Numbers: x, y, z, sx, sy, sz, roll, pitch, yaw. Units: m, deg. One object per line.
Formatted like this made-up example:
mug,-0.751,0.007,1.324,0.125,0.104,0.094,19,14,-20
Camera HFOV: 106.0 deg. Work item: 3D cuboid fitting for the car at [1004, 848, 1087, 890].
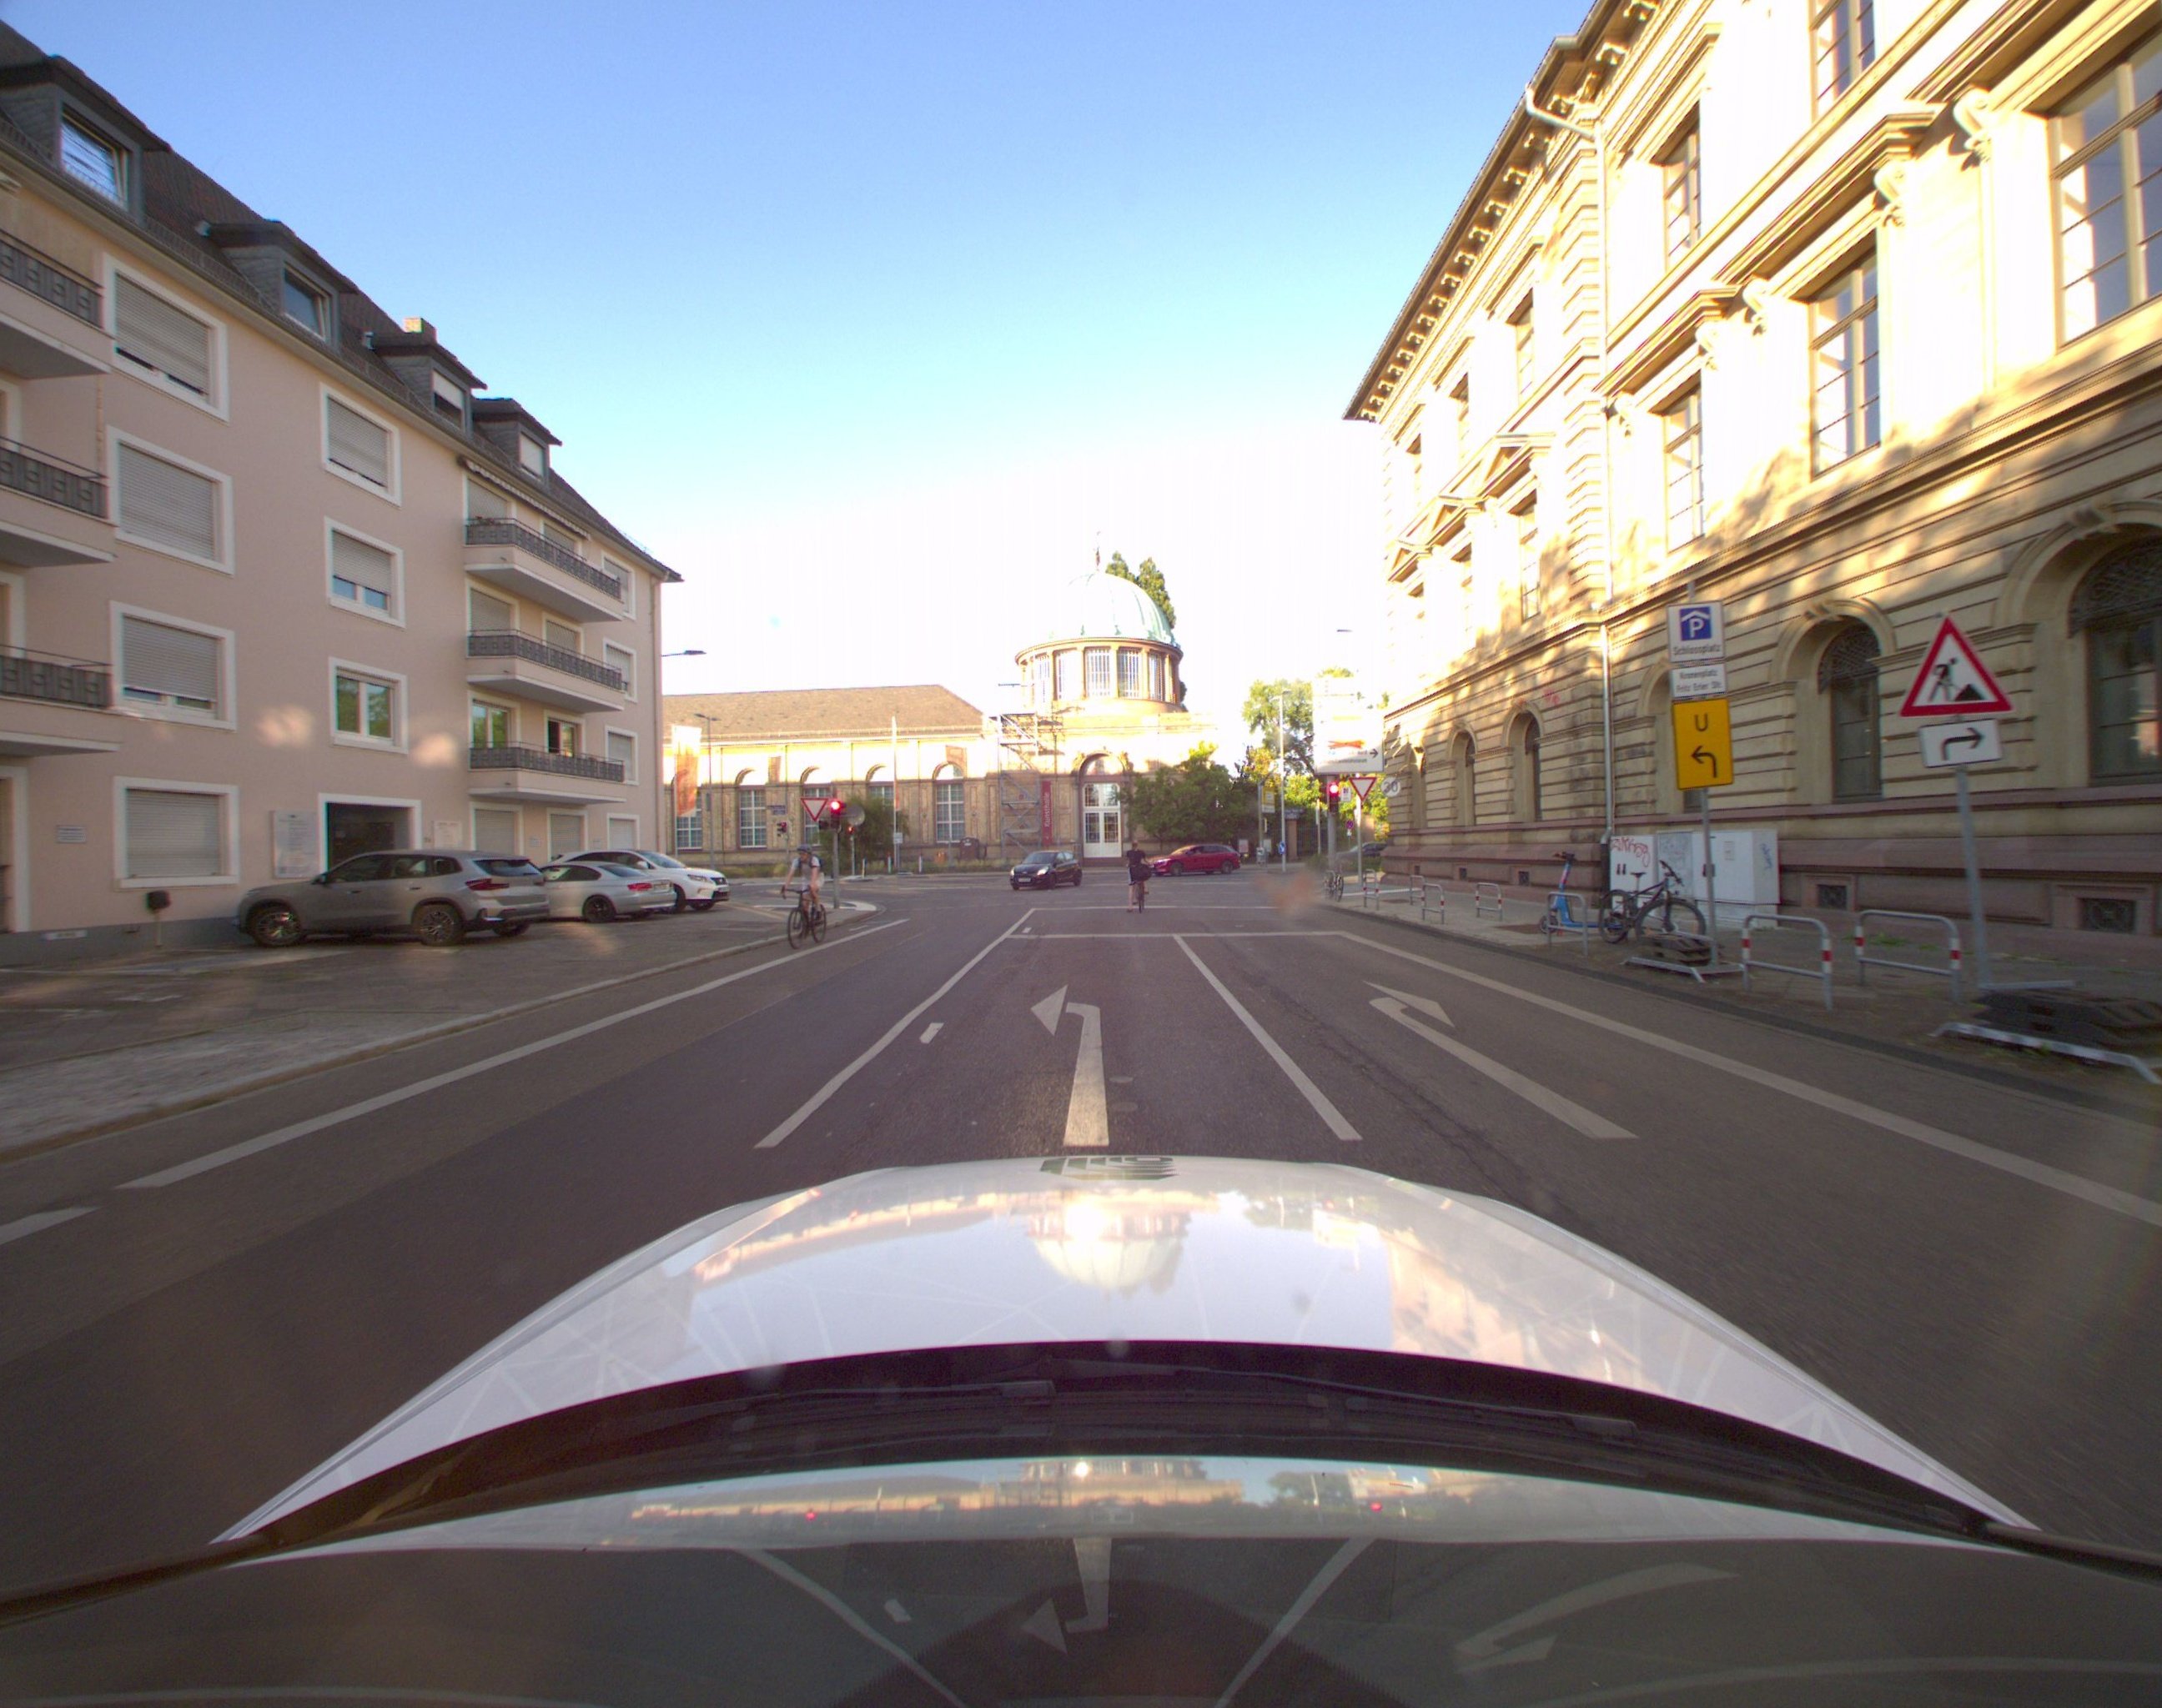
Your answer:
car,-1.330,0.558,32.322,1.643,1.471,3.876,-2,1,25

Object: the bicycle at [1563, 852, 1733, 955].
bicycle,7.224,0.581,10.521,0.824,1.134,1.945,-4,0,2

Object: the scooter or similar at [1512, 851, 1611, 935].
scooter or similar,7.120,0.568,12.099,1.123,1.195,0.585,-1,0,8

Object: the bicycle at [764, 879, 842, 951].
bicycle,-4.942,1.051,14.609,0.622,1.156,2.053,-1,-1,2

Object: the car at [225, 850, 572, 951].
car,-11.748,0.757,14.265,4.404,1.605,1.916,0,0,-1

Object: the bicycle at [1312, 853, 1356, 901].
bicycle,6.632,0.608,21.415,0.580,1.188,1.921,-1,-1,2

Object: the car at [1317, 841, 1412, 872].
car,15.064,0.119,43.359,4.405,1.459,1.783,-2,0,-8

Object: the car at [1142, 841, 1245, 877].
car,5.674,0.214,41.007,4.852,1.545,1.823,-3,1,-23

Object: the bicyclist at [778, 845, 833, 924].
bicyclist,-4.943,0.540,14.658,0.623,1.364,0.929,-1,-1,1

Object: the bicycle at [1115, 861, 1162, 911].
bicycle,1.429,0.755,20.001,0.706,1.156,2.077,-2,-1,16

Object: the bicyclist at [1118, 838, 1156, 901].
bicyclist,1.363,0.376,19.793,0.710,1.502,0.854,-2,-2,16

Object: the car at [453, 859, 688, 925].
car,-11.570,0.831,18.675,4.253,1.380,1.735,0,0,-1

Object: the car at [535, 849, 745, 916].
car,-11.458,0.718,21.404,4.426,1.641,1.942,0,0,-1
